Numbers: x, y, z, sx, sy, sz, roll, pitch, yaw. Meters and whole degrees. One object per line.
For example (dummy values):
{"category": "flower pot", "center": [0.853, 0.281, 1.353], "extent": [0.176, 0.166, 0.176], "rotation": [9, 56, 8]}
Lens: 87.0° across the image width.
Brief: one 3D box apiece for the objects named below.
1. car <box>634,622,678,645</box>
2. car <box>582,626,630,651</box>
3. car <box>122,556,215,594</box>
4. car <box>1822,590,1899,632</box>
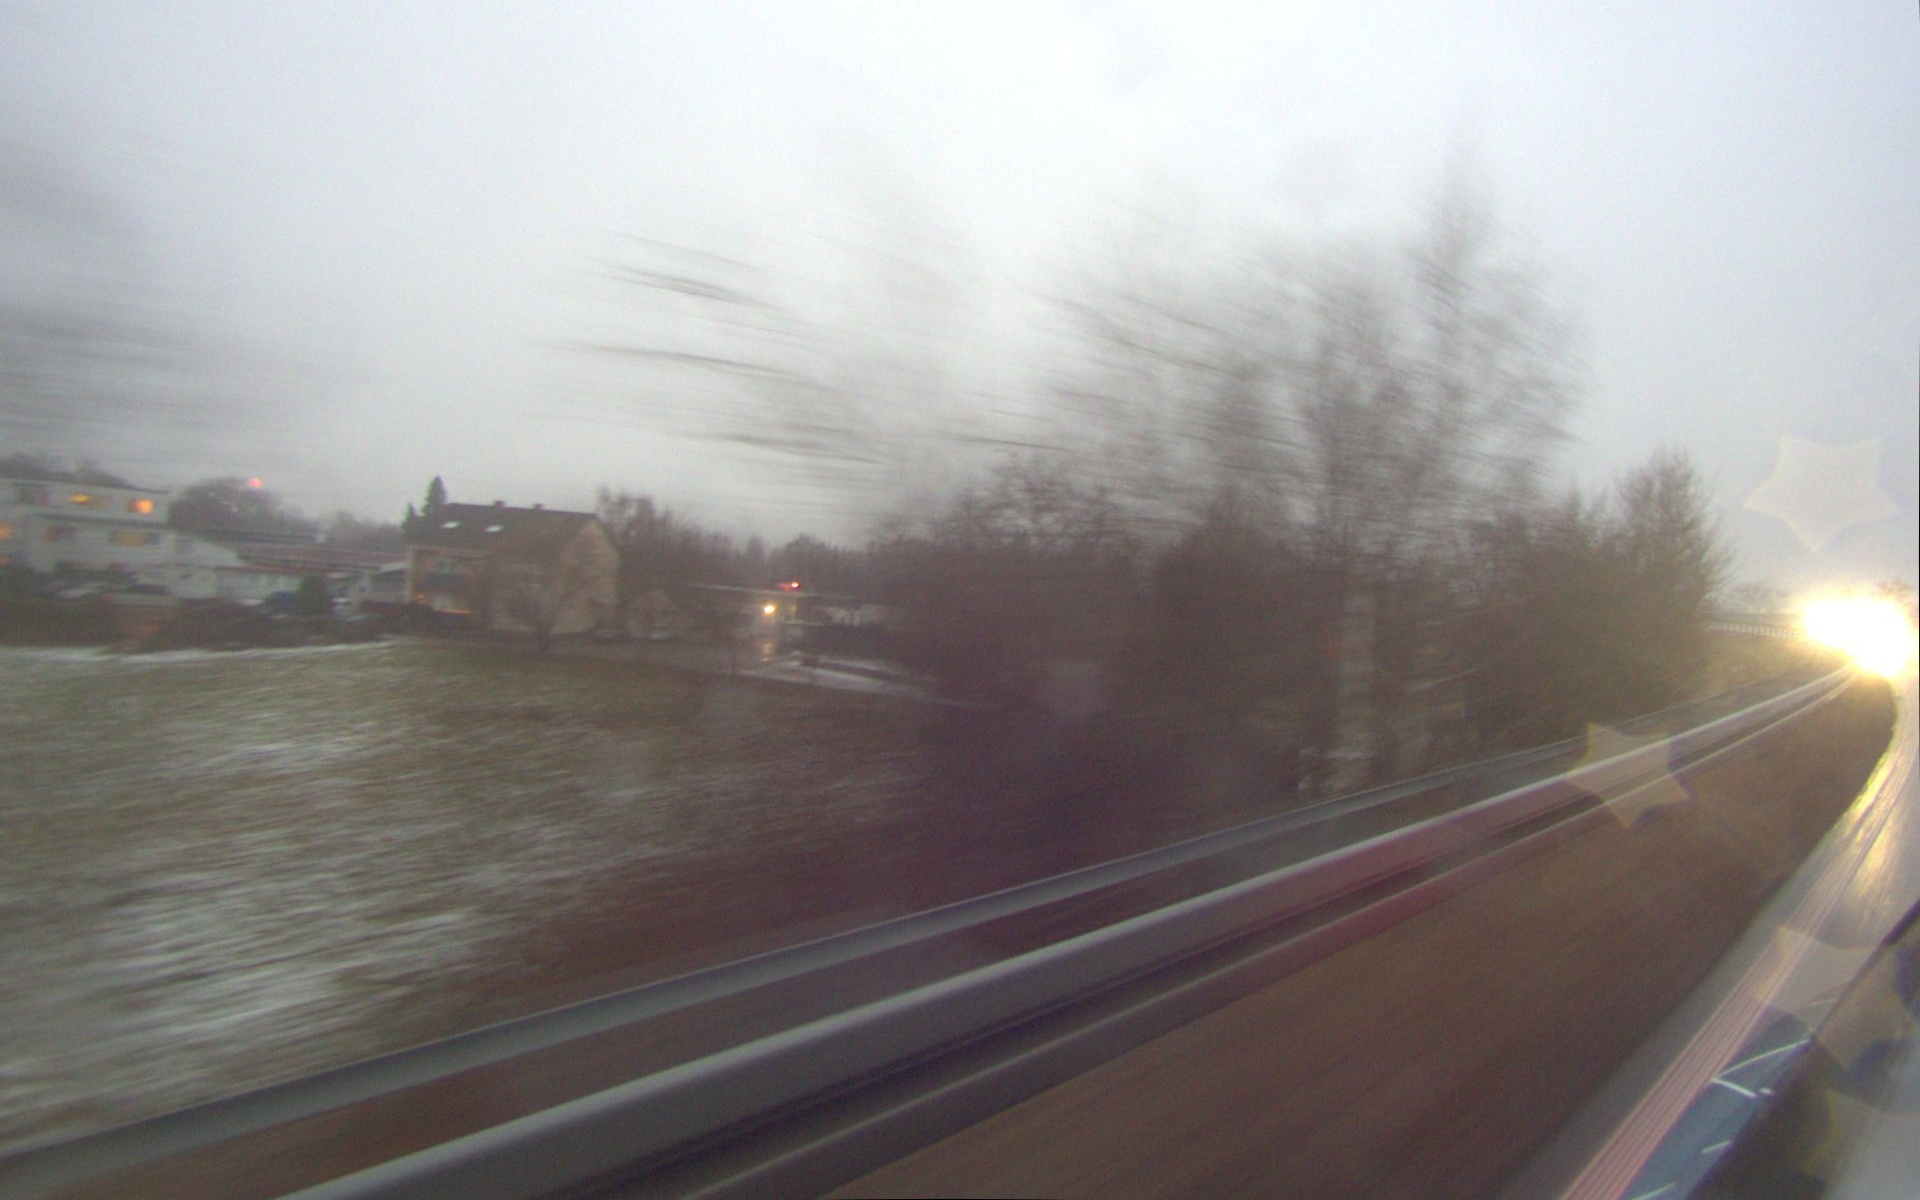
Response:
{"category": "car", "center": [-25.389, 2.767, 84.619], "extent": [1.967, 1.749, 3.989], "rotation": [1, 1, 9]}
{"category": "car", "center": [-28.299, 3.033, 81.043], "extent": [1.967, 1.749, 3.989], "rotation": [1, 1, 9]}
{"category": "car", "center": [-62.967, -1.991, 80.575], "extent": [6.011, 2.876, 2.289], "rotation": [1, 1, 8]}
{"category": "car", "center": [39.707, 0.504, 44.720], "extent": [2.093, 1.595, 4.733], "rotation": [4, 1, 38]}
